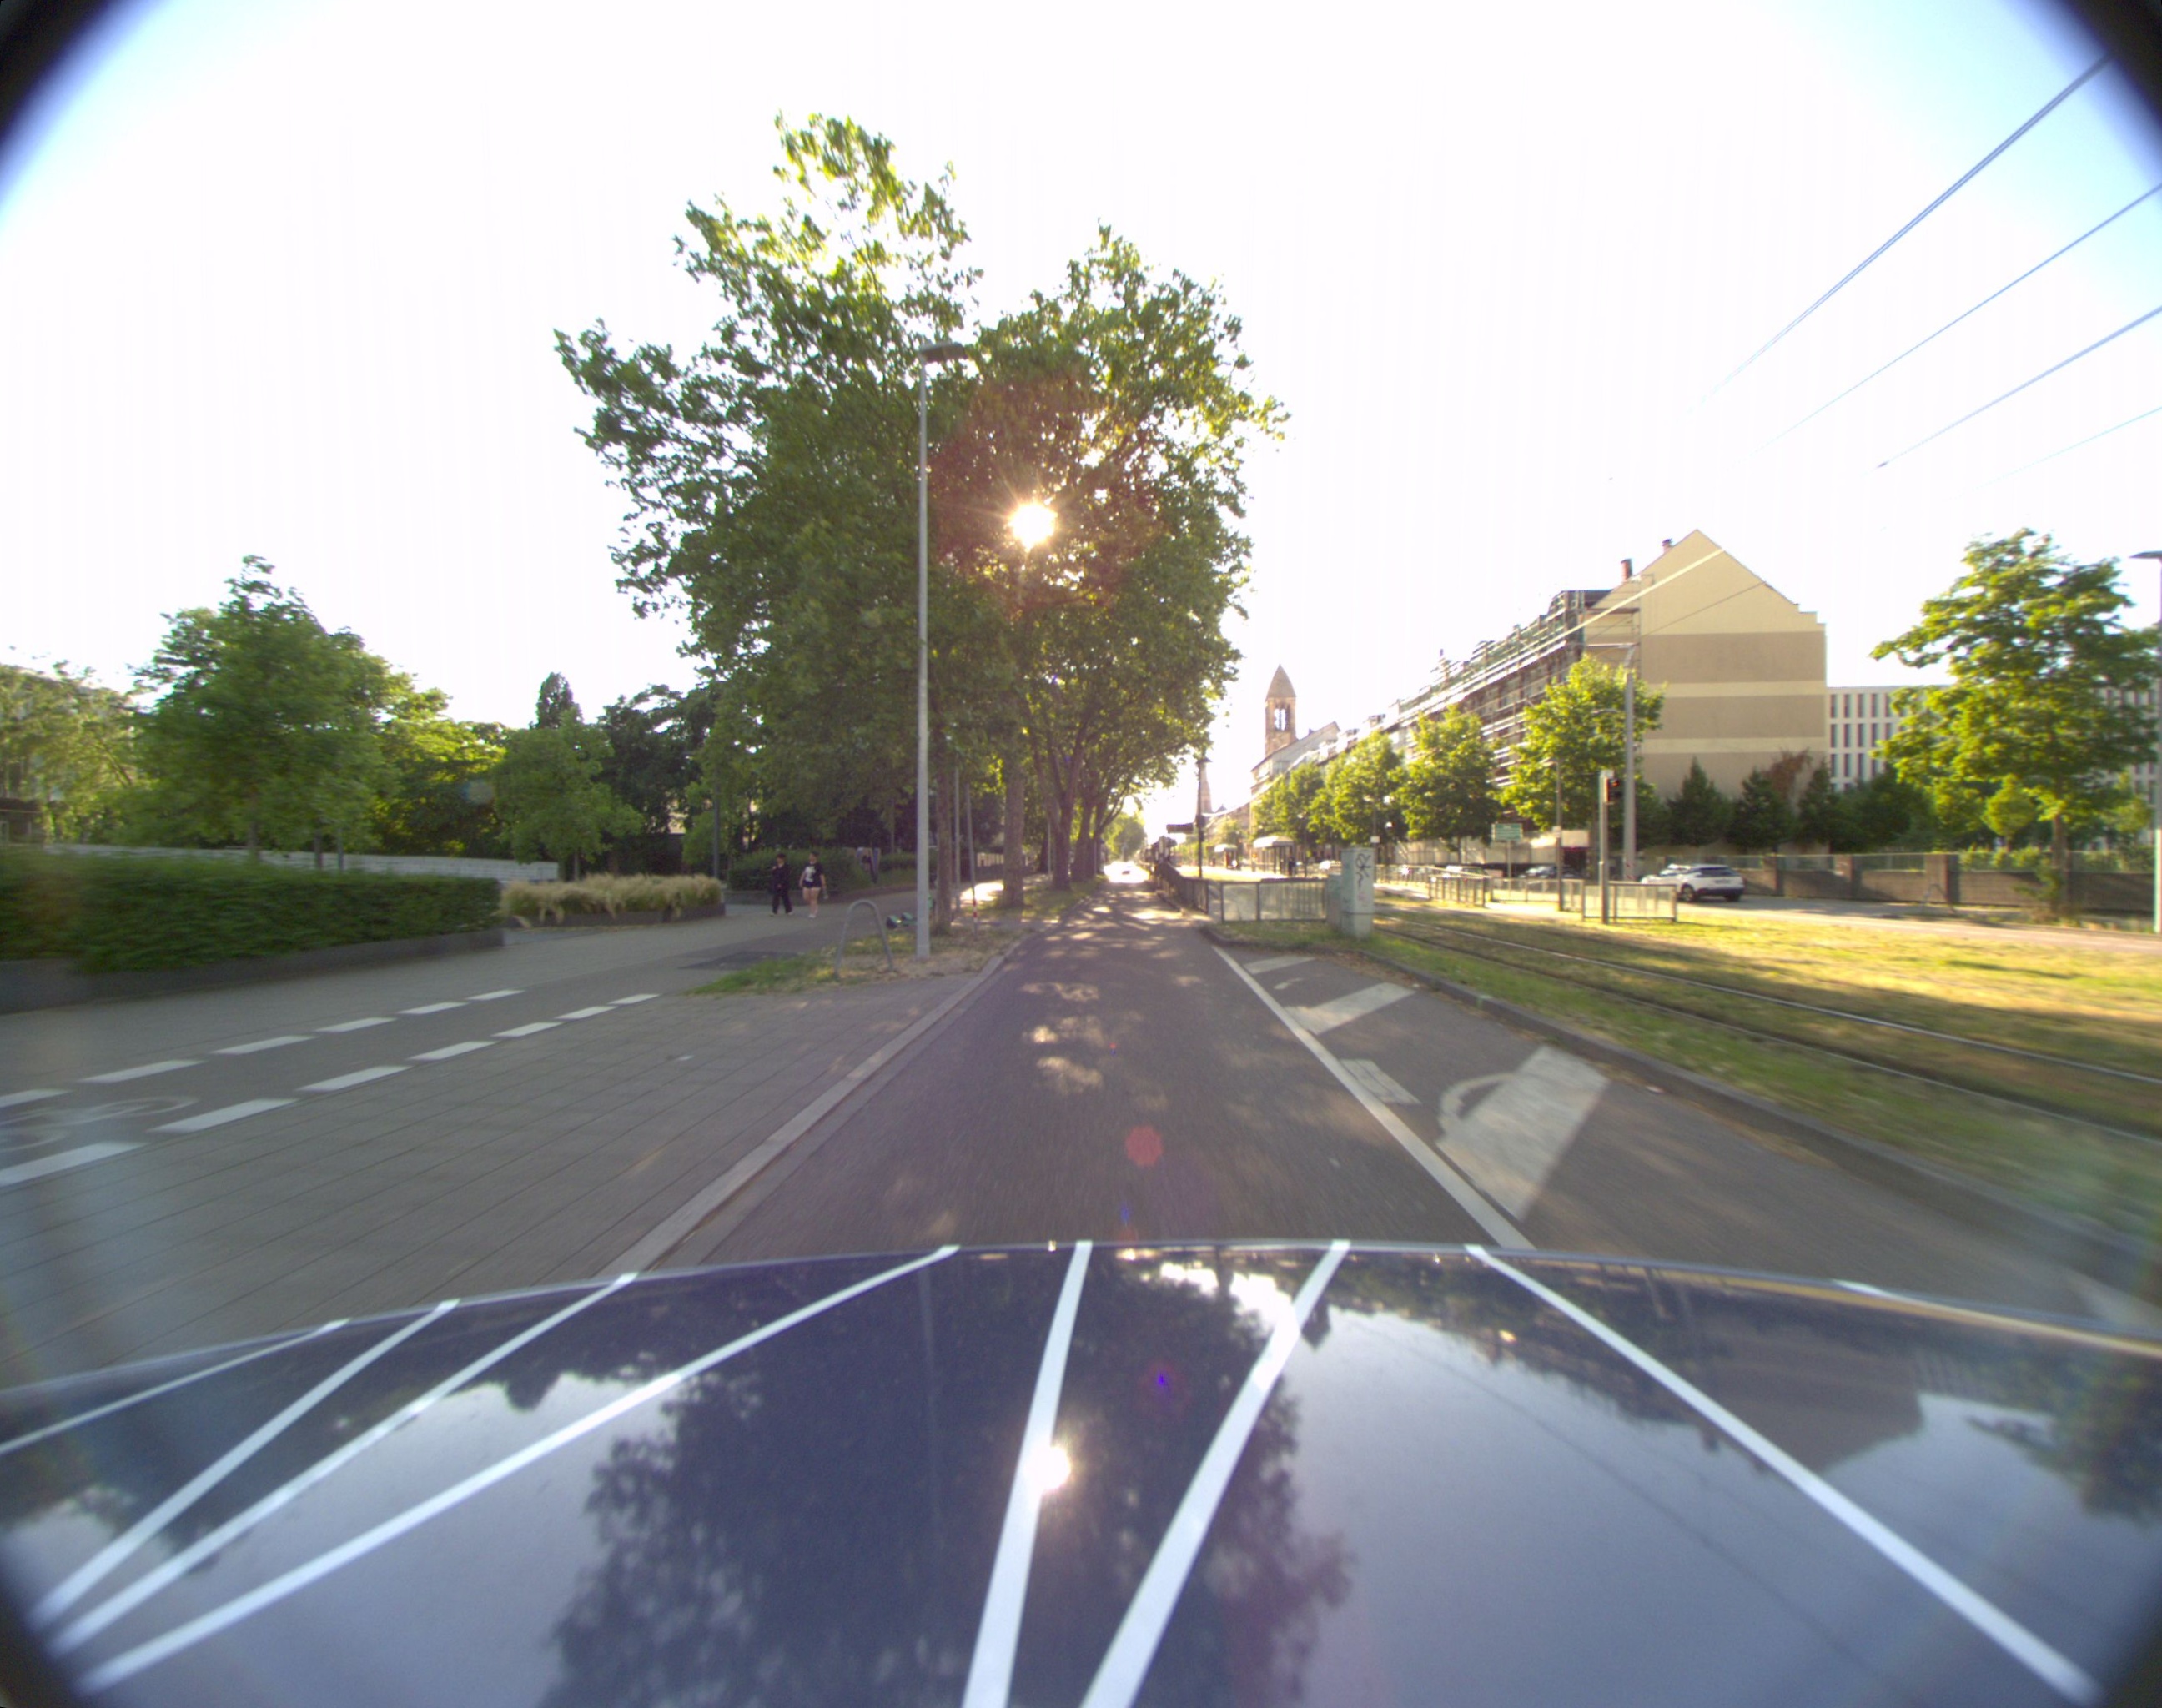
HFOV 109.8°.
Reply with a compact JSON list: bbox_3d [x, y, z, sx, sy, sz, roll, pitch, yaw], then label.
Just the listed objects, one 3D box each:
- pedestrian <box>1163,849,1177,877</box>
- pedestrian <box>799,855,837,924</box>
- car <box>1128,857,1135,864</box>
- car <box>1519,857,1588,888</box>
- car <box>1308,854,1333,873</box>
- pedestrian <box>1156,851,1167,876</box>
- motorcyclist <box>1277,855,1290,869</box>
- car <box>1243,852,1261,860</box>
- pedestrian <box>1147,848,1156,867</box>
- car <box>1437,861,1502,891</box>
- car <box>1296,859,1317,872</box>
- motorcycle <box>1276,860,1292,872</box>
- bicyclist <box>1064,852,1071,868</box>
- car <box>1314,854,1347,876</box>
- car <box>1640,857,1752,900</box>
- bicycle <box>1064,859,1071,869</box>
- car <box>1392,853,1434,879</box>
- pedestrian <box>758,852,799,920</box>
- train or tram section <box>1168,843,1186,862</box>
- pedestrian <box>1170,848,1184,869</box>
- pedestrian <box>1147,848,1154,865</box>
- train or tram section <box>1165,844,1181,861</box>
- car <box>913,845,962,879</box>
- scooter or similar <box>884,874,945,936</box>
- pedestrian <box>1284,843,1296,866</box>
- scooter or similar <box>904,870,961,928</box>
[{"bbox_3d":[5.374,0.535,46.035,0.758,1.680,0.678,-2,0,4],"label":"pedestrian"},{"bbox_3d":[-6.465,0.851,18.672,0.629,1.647,0.740,1,1,3],"label":"pedestrian"},{"bbox_3d":[12.045,1.574,182.676,1.636,1.491,4.001,1,0,3],"label":"car"},{"bbox_3d":[26.483,0.980,42.708,1.725,1.577,4.067,-2,0,8],"label":"car"},{"bbox_3d":[29.131,1.140,92.481,1.945,2.153,3.786,-2,0,3],"label":"car"},{"bbox_3d":[5.654,0.661,53.437,0.681,1.680,0.895,-2,0,4],"label":"pedestrian"},{"bbox_3d":[19.325,0.805,72.639,0.820,1.292,1.276,-2,0,-1],"label":"motorcyclist"},{"bbox_3d":[42.179,0.441,187.891,4.023,1.795,1.871,-2,0,4],"label":"car"},{"bbox_3d":[6.498,0.351,70.350,0.766,1.748,0.695,-2,0,3],"label":"pedestrian"},{"bbox_3d":[20.311,1.118,39.905,1.610,1.399,3.852,-2,0,4],"label":"car"},{"bbox_3d":[29.642,1.456,100.120,1.810,1.626,3.786,-2,0,3],"label":"car"},{"bbox_3d":[19.348,1.163,72.417,0.820,1.066,2.402,-2,0,-1],"label":"motorcycle"},{"bbox_3d":[-1.307,0.612,75.094,0.604,1.542,0.860,0,0,3],"label":"bicyclist"},{"bbox_3d":[22.287,0.976,67.997,1.868,1.795,4.029,-2,0,5],"label":"car"},{"bbox_3d":[25.394,0.964,31.566,1.725,1.577,4.067,-2,0,8],"label":"car"},{"bbox_3d":[-1.308,0.965,74.984,0.604,1.020,1.767,0,0,3],"label":"bicycle"},{"bbox_3d":[27.484,0.944,63.081,1.998,2.002,4.001,-2,0,5],"label":"car"},{"bbox_3d":[-7.487,0.778,18.851,0.651,1.647,0.783,1,1,3],"label":"pedestrian"},{"bbox_3d":[19.577,-0.266,155.691,2.876,3.664,14.564,0,0,4],"label":"train or tram section"},{"bbox_3d":[8.005,0.388,63.133,0.912,1.712,0.630,-2,0,-30],"label":"pedestrian"},{"bbox_3d":[8.136,0.280,89.060,0.600,1.984,0.825,-2,0,9],"label":"pedestrian"},{"bbox_3d":[20.533,-0.284,170.211,2.876,3.654,14.564,0,0,4],"label":"train or tram section"},{"bbox_3d":[-11.308,0.618,60.438,1.998,2.484,6.349,-2,0,6],"label":"car"},{"bbox_3d":[-3.538,1.073,16.254,1.054,1.237,0.841,1,1,6],"label":"scooter or similar"},{"bbox_3d":[16.109,0.033,58.629,0.681,1.680,0.654,-2,0,1],"label":"pedestrian"},{"bbox_3d":[-3.335,1.005,17.134,1.054,1.237,0.841,1,1,6],"label":"scooter or similar"}]
